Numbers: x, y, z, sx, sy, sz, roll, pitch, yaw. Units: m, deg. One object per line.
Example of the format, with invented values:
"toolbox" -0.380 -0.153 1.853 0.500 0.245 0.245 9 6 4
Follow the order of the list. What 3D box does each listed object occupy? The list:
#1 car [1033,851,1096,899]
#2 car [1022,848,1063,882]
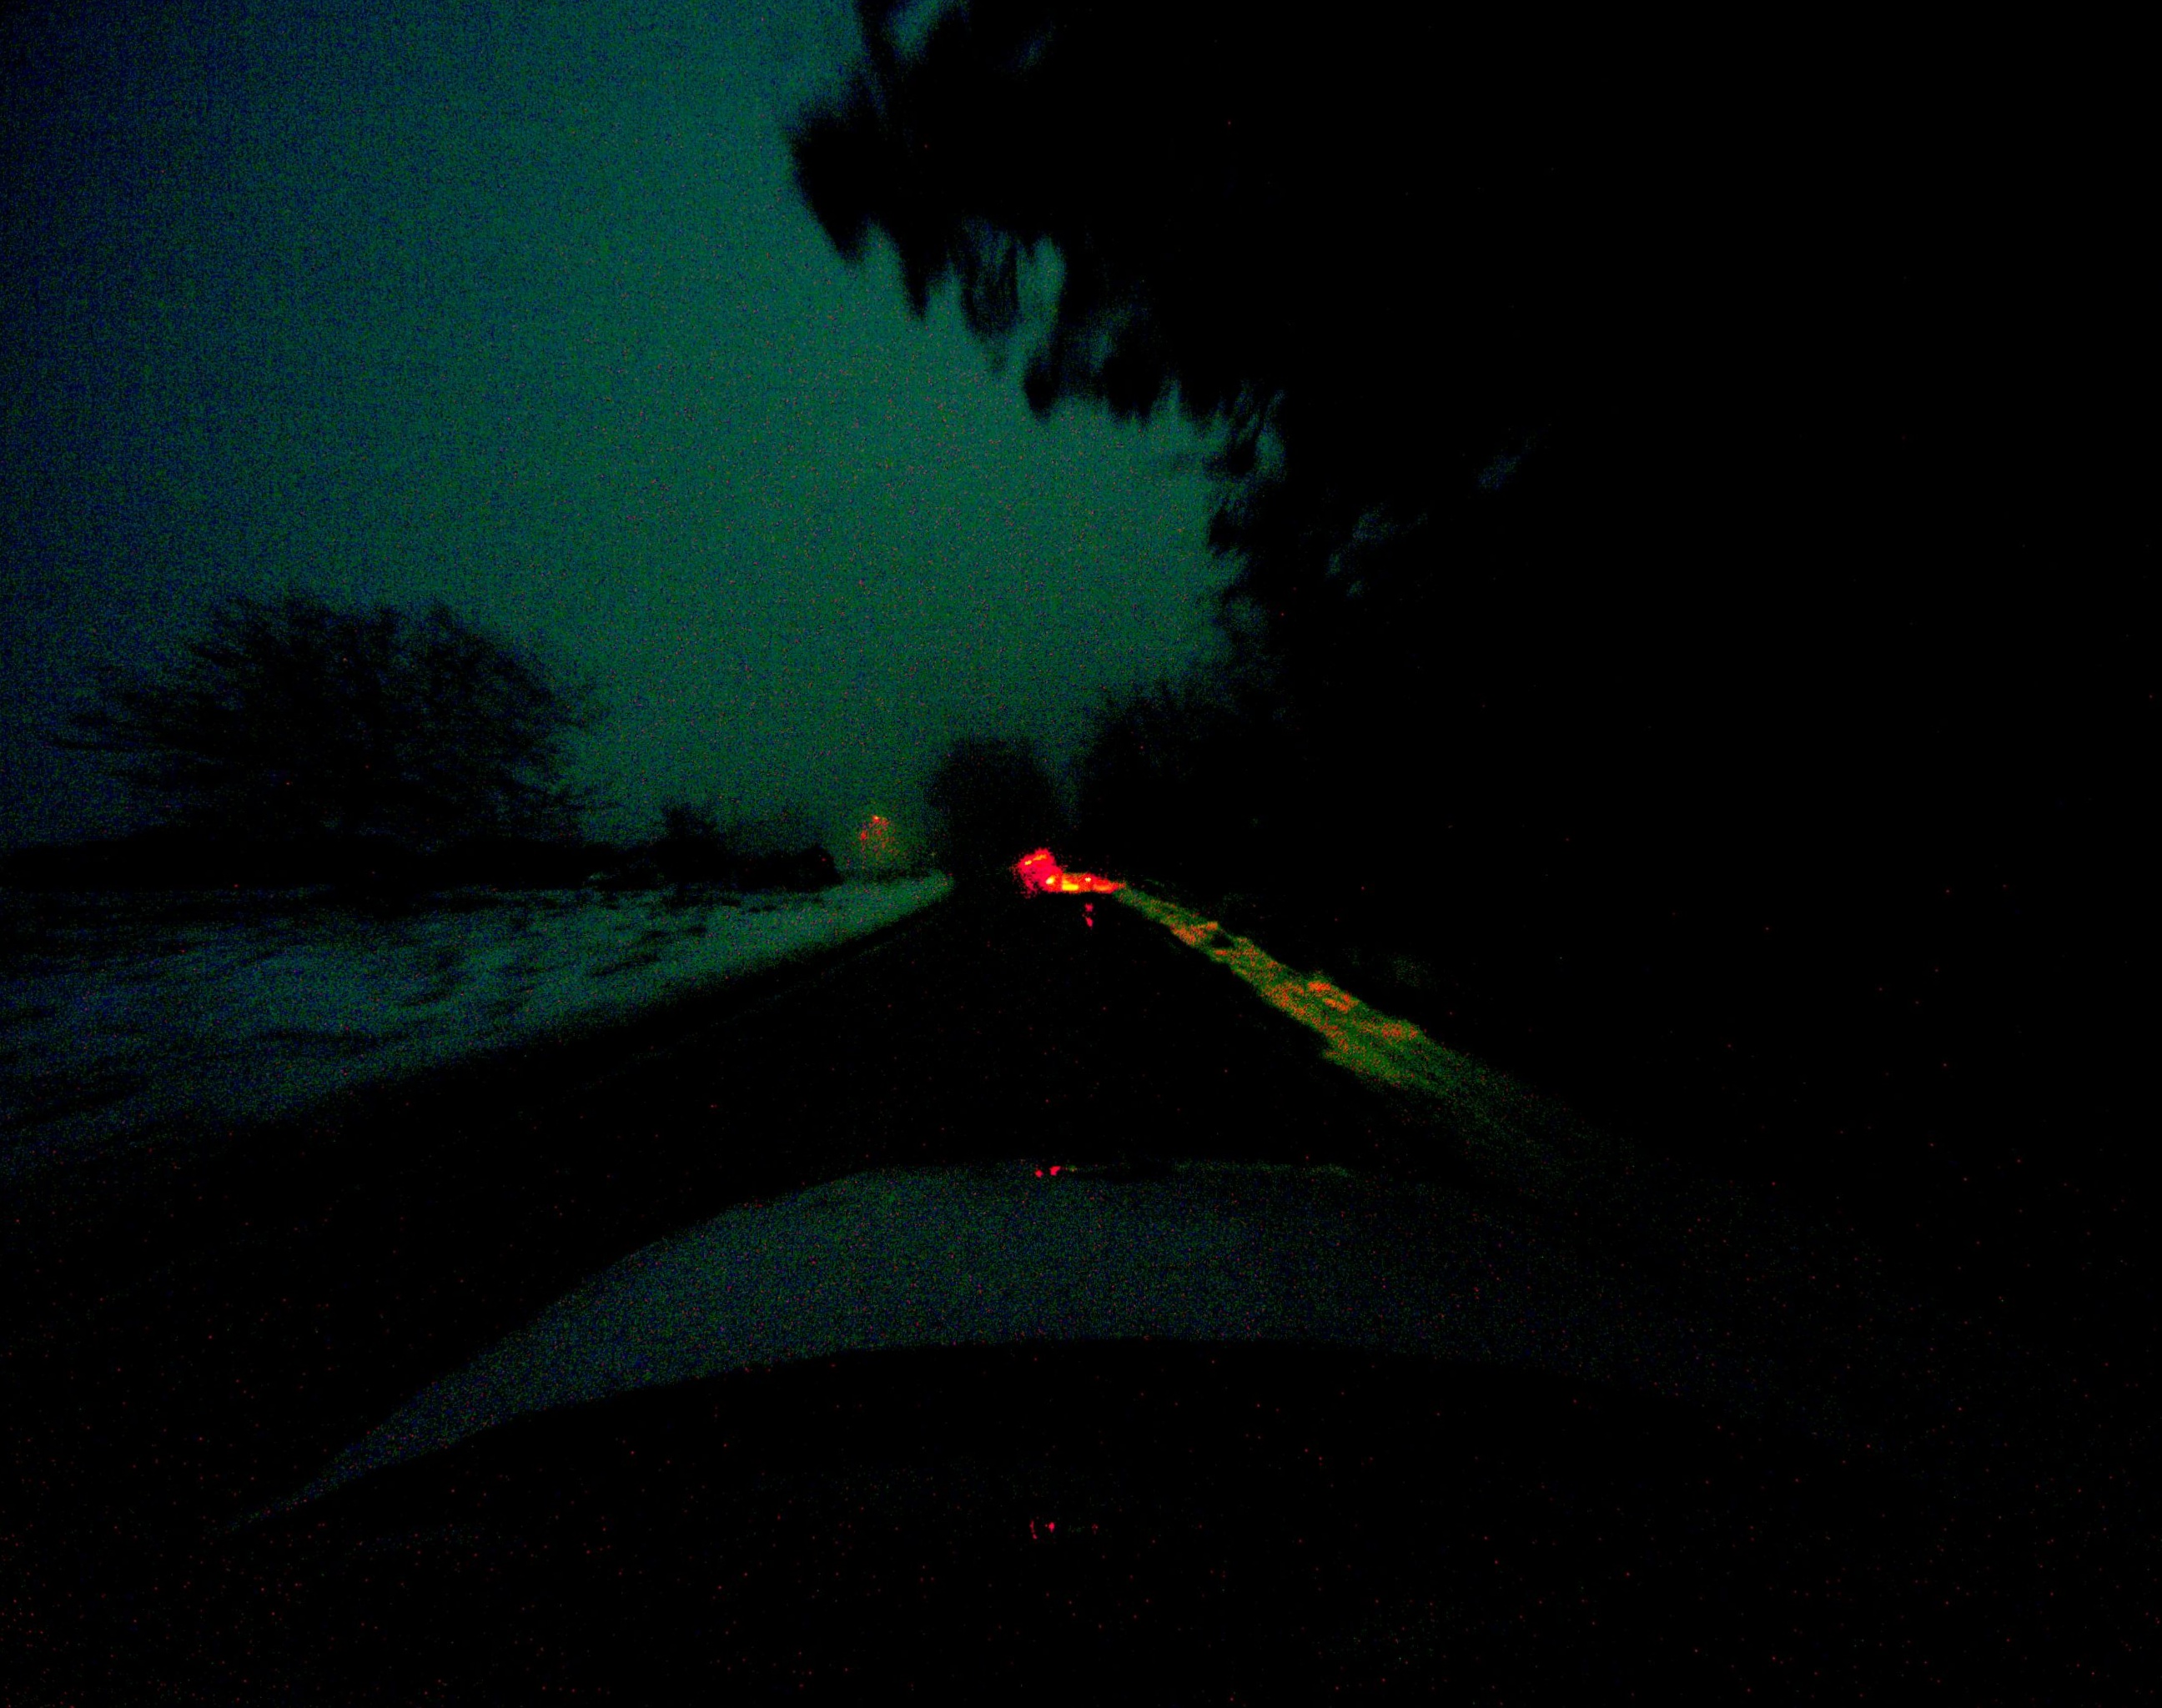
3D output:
"car" -0.491 0.684 28.142 1.986 1.508 4.001 -1 -1 1
"car" -2.060 0.598 44.256 1.987 1.750 4.000 -1 -1 0
